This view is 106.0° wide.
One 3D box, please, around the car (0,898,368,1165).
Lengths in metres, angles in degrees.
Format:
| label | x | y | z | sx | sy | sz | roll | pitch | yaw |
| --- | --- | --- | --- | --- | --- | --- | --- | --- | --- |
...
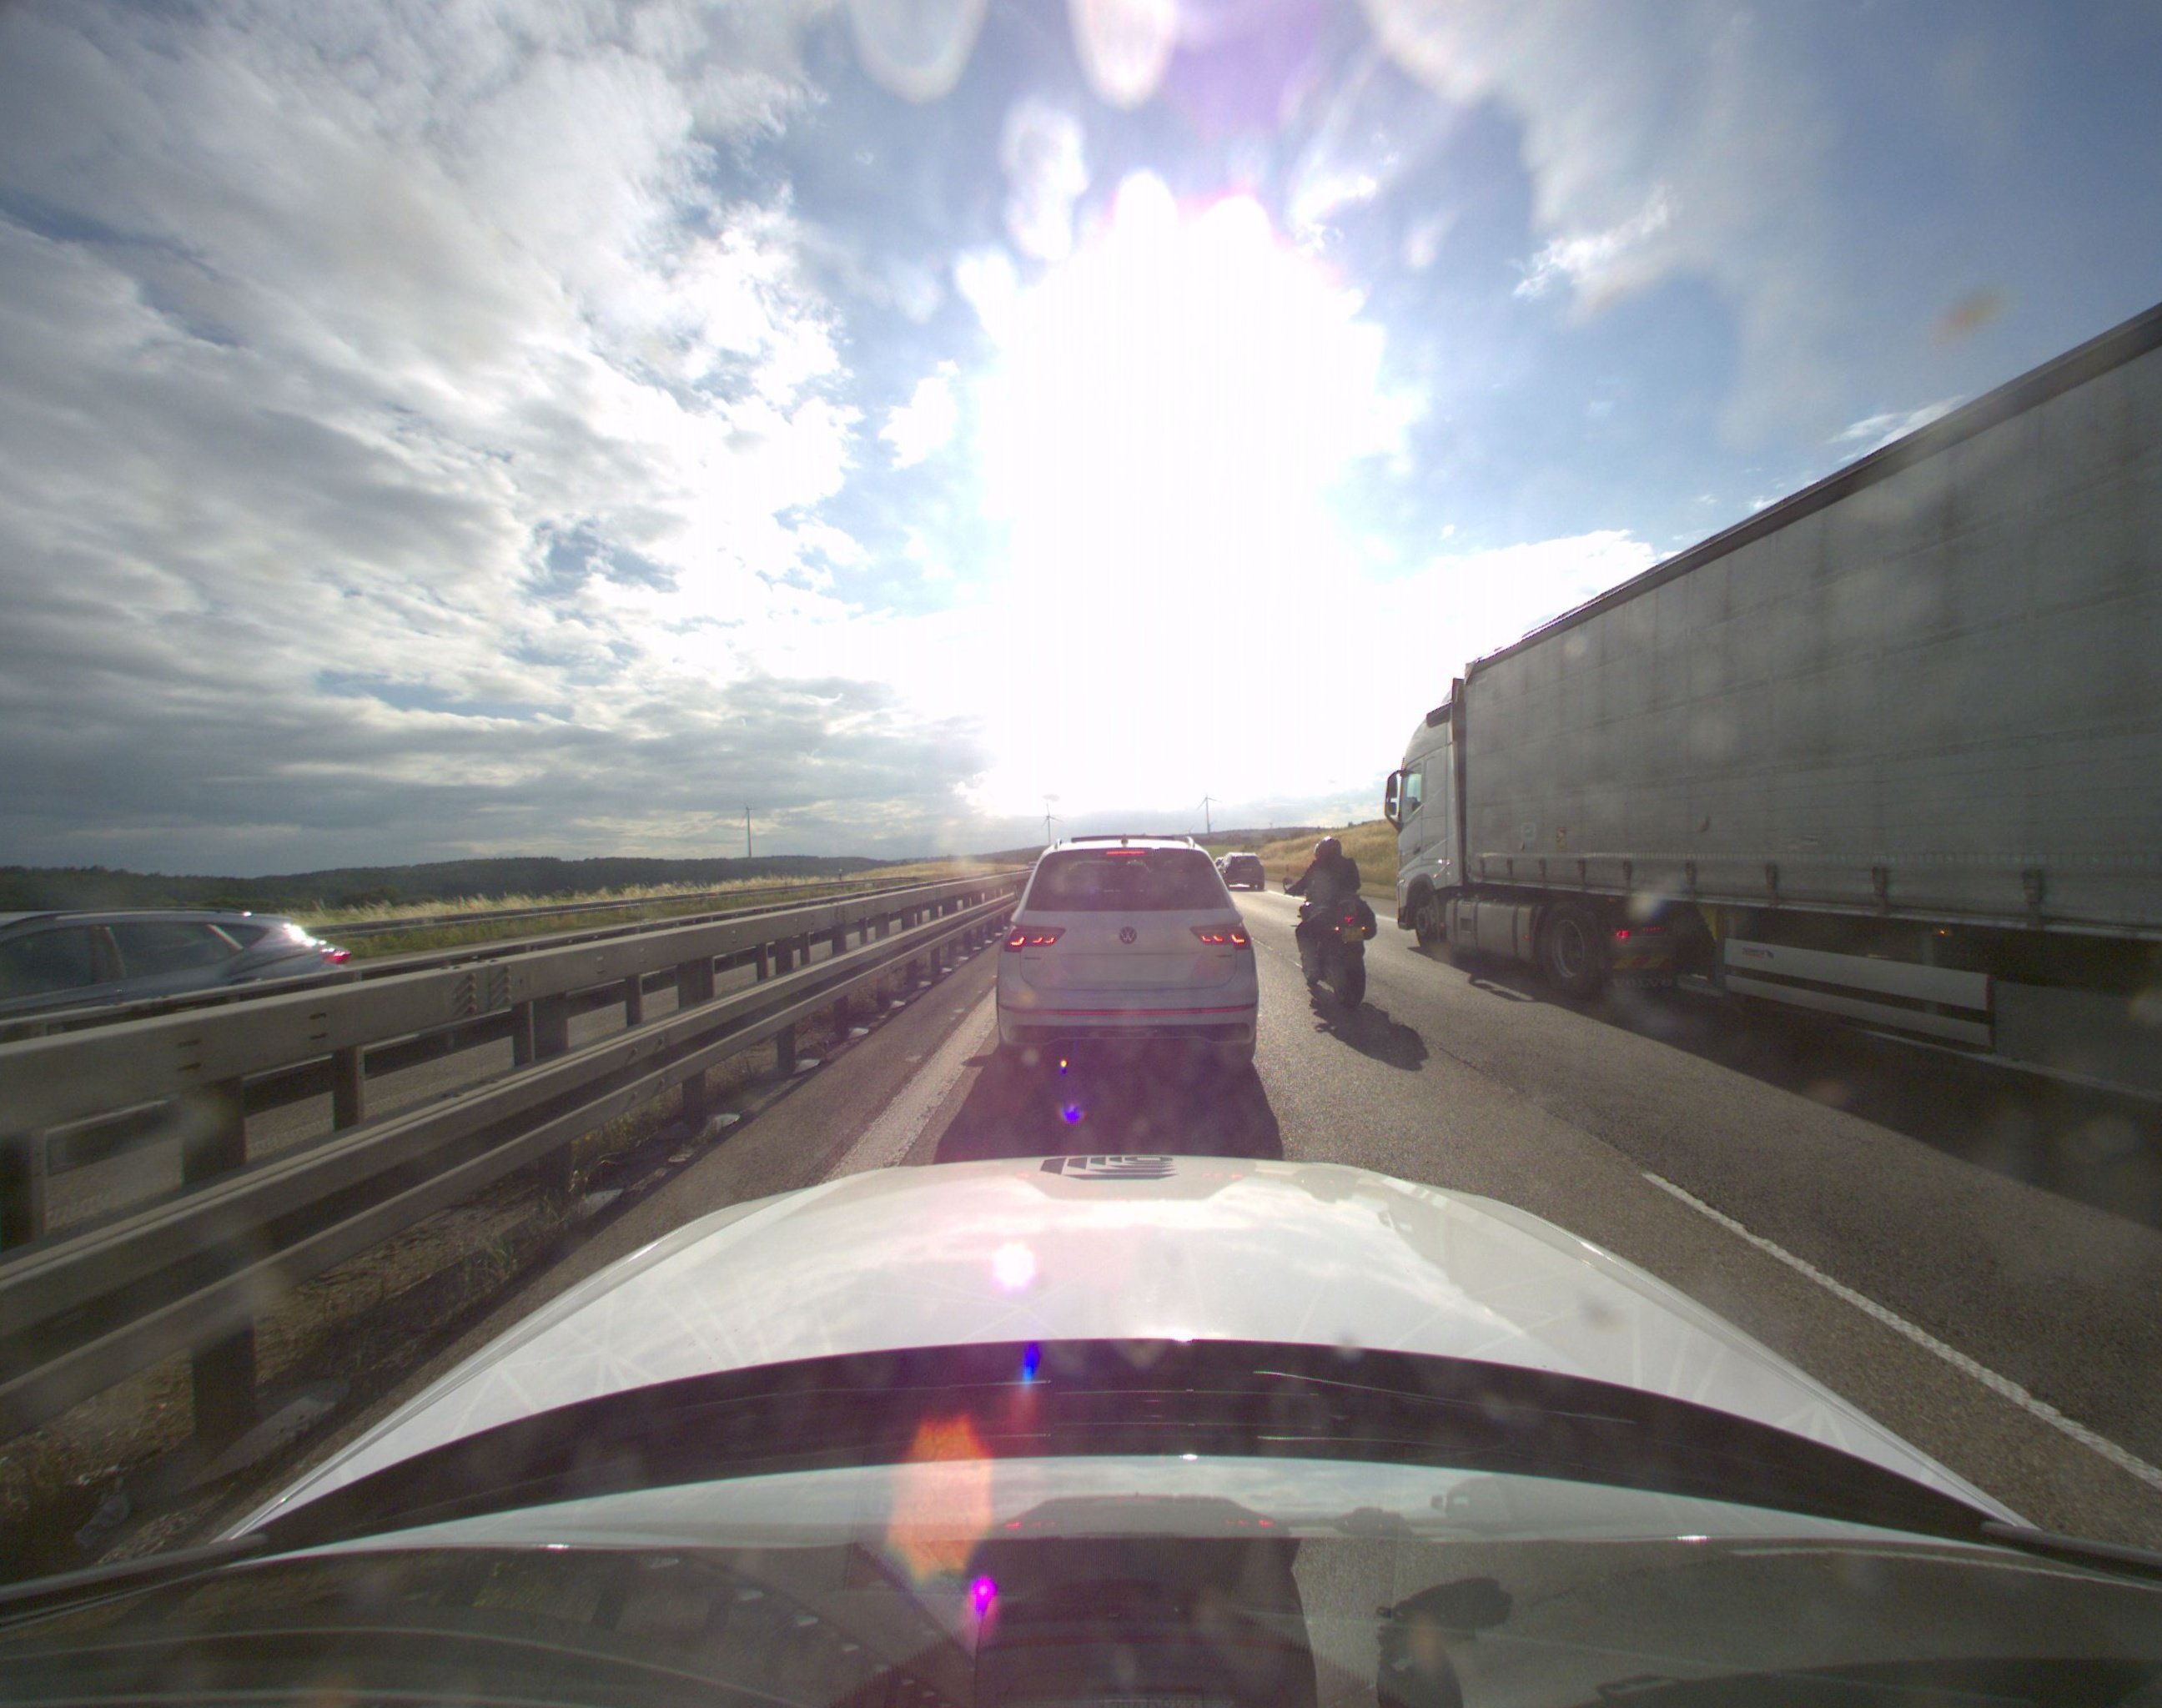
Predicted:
| label | x | y | z | sx | sy | sz | roll | pitch | yaw |
| --- | --- | --- | --- | --- | --- | --- | --- | --- | --- |
| car | -7.310 | 1.133 | 5.300 | 1.726 | 1.485 | 4.001 | -1 | -1 | 2 |

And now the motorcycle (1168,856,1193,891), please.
| label | x | y | z | sx | sy | sz | roll | pitch | yaw |
| --- | --- | --- | --- | --- | --- | --- | --- | --- | --- |
| motorcycle | 4.397 | 0.843 | 36.124 | 0.892 | 1.455 | 2.270 | -1 | -1 | 1 |

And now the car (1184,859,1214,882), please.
| label | x | y | z | sx | sy | sz | roll | pitch | yaw |
| --- | --- | --- | --- | --- | --- | --- | --- | --- | --- |
| car | 8.367 | 1.176 | 58.089 | 1.697 | 1.546 | 4.001 | -1 | -1 | 2 |

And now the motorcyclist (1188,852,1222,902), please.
| label | x | y | z | sx | sy | sz | roll | pitch | yaw |
| --- | --- | --- | --- | --- | --- | --- | --- | --- | --- |
| motorcyclist | 3.796 | 0.695 | 24.909 | 0.892 | 1.456 | 0.892 | -1 | -1 | 1 |

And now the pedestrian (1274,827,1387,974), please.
| label | x | y | z | sx | sy | sz | roll | pitch | yaw |
| --- | --- | --- | --- | --- | --- | --- | --- | --- | --- |
| pedestrian | 2.625 | 0.474 | 8.681 | 0.892 | 1.456 | 0.984 | -1 | -1 | 1 |

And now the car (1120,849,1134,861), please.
| label | x | y | z | sx | sy | sz | roll | pitch | yaw |
| --- | --- | --- | --- | --- | --- | --- | --- | --- | --- |
| car | 6.209 | 0.127 | 110.142 | 1.697 | 1.546 | 4.001 | -1 | -1 | 2 |

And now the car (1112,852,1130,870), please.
| label | x | y | z | sx | sy | sz | roll | pitch | yaw |
| --- | --- | --- | --- | --- | --- | --- | --- | --- | --- |
| car | 3.948 | 0.709 | 80.200 | 1.697 | 1.650 | 4.001 | -1 | -1 | 2 |

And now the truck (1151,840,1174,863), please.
| label | x | y | z | sx | sy | sz | roll | pitch | yaw |
| --- | --- | --- | --- | --- | --- | --- | --- | --- | --- |
| truck | 13.224 | -0.421 | 133.009 | 3.170 | 3.594 | 11.142 | -1 | 0 | 4 |

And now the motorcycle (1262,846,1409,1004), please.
| label | x | y | z | sx | sy | sz | roll | pitch | yaw |
| --- | --- | --- | --- | --- | --- | --- | --- | --- | --- |
| motorcycle | 2.639 | 0.677 | 8.765 | 0.892 | 1.455 | 2.270 | -1 | -1 | 1 |

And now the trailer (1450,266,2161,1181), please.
| label | x | y | z | sx | sy | sz | roll | pitch | yaw |
| --- | --- | --- | --- | --- | --- | --- | --- | --- | --- |
| trailer | 6.093 | -0.587 | 3.908 | 2.607 | 4.040 | 13.701 | -1 | 0 | 1 |

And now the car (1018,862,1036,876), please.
| label | x | y | z | sx | sy | sz | roll | pitch | yaw |
| --- | --- | --- | --- | --- | --- | --- | --- | --- | --- |
| car | -6.242 | 1.740 | 94.228 | 1.726 | 1.485 | 4.002 | -1 | -1 | 2 |

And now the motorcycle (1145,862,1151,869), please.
| label | x | y | z | sx | sy | sz | roll | pitch | yaw |
| --- | --- | --- | --- | --- | --- | --- | --- | --- | --- |
| motorcycle | 11.280 | 1.895 | 137.500 | 0.892 | 1.190 | 2.257 | -1 | -1 | 1 |

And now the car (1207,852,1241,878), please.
| label | x | y | z | sx | sy | sz | roll | pitch | yaw |
| --- | --- | --- | --- | --- | --- | --- | --- | --- | --- |
| car | 8.336 | 0.637 | 47.833 | 1.598 | 1.420 | 3.676 | -1 | -1 | 4 |

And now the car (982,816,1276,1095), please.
| label | x | y | z | sx | sy | sz | roll | pitch | yaw |
| --- | --- | --- | --- | --- | --- | --- | --- | --- | --- |
| car | 0.359 | 0.639 | 6.990 | 1.763 | 1.675 | 4.001 | -1 | -1 | 2 |

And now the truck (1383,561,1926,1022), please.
| label | x | y | z | sx | sy | sz | roll | pitch | yaw |
| --- | --- | --- | --- | --- | --- | --- | --- | --- | --- |
| truck | 6.216 | -0.548 | 10.288 | 2.591 | 4.040 | 6.121 | -1 | 0 | 1 |

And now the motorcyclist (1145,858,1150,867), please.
| label | x | y | z | sx | sy | sz | roll | pitch | yaw |
| --- | --- | --- | --- | --- | --- | --- | --- | --- | --- |
| motorcyclist | 11.263 | 1.427 | 137.461 | 0.846 | 1.560 | 0.934 | -1 | -1 | 1 |

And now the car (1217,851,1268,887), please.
| label | x | y | z | sx | sy | sz | roll | pitch | yaw |
| --- | --- | --- | --- | --- | --- | --- | --- | --- | --- |
| car | 7.454 | 0.678 | 37.954 | 1.813 | 1.601 | 4.238 | 0 | -1 | 3 |

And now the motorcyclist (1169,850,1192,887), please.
| label | x | y | z | sx | sy | sz | roll | pitch | yaw |
| --- | --- | --- | --- | --- | --- | --- | --- | --- | --- |
| motorcyclist | 4.387 | 0.630 | 36.110 | 0.892 | 1.617 | 1.022 | -1 | -1 | 1 |

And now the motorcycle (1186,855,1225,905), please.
| label | x | y | z | sx | sy | sz | roll | pitch | yaw |
| --- | --- | --- | --- | --- | --- | --- | --- | --- | --- |
| motorcycle | 3.798 | 0.771 | 24.993 | 0.892 | 1.456 | 1.983 | -1 | -1 | 1 |
